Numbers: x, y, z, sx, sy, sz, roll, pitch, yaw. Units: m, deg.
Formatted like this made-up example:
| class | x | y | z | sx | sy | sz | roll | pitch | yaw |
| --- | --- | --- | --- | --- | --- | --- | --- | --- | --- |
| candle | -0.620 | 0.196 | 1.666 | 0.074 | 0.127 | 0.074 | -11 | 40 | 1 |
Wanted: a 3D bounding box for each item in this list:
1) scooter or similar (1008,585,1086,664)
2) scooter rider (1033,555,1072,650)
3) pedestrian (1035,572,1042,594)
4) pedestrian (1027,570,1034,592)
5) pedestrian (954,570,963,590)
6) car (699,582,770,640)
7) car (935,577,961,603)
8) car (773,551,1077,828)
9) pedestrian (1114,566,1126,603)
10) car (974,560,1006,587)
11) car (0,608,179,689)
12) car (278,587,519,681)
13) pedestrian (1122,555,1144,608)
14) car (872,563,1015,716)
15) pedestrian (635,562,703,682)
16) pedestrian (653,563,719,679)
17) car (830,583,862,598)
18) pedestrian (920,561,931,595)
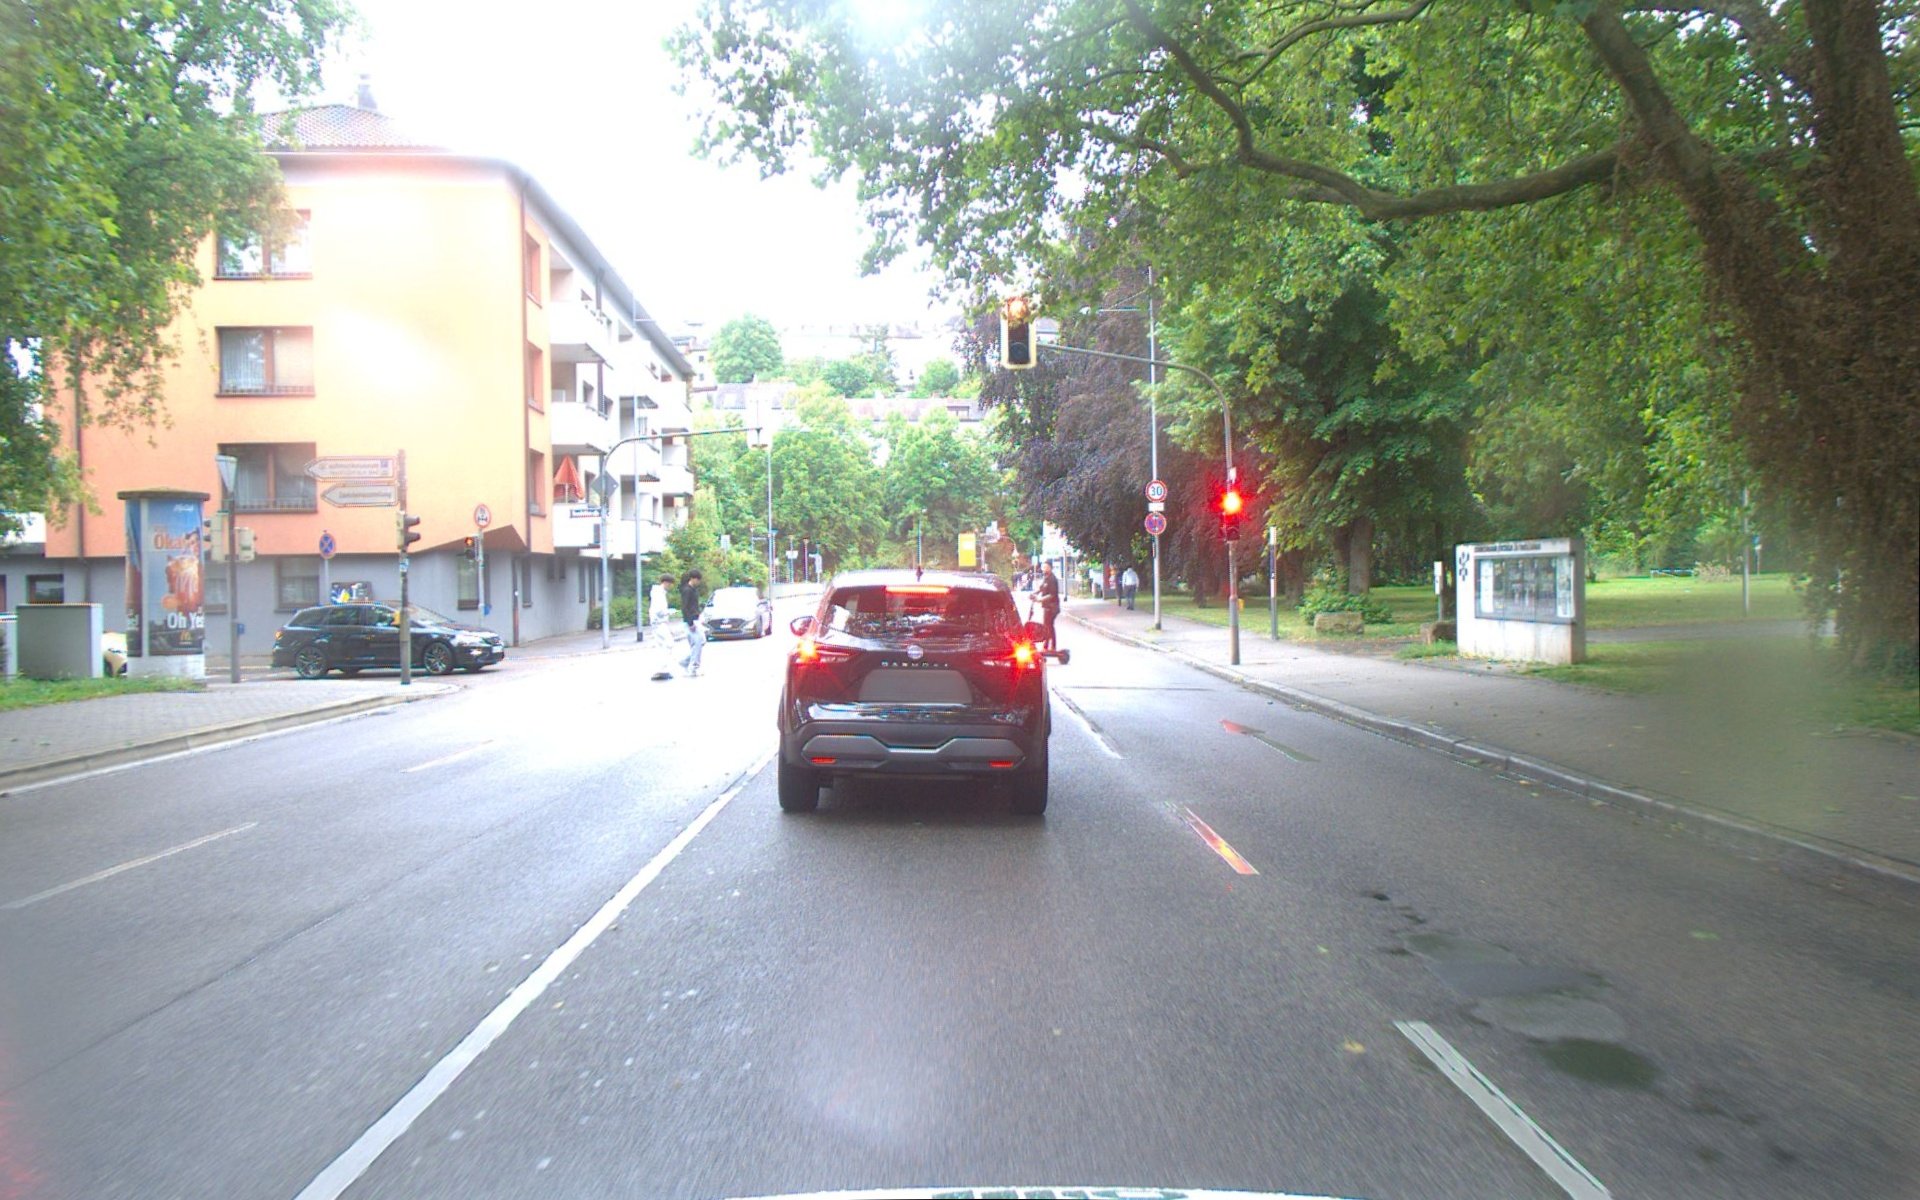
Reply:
| class | x | y | z | sx | sy | sz | roll | pitch | yaw |
| --- | --- | --- | --- | --- | --- | --- | --- | --- | --- |
| scooter or similar | 1.666 | 0.463 | 31.602 | 1.364 | 1.471 | 0.818 | -1 | -1 | 11 |
| scooter rider | 1.773 | 0.048 | 31.611 | 0.629 | 1.797 | 0.736 | -1 | -1 | 11 |
| pedestrian | 6.554 | -1.446 | 137.990 | 0.498 | 1.833 | 0.619 | -2 | 0 | -2 |
| pedestrian | 5.878 | -1.556 | 137.722 | 0.498 | 1.833 | 0.619 | -2 | 0 | -1 |
| pedestrian | -0.135 | -1.742 | 142.369 | 0.498 | 1.702 | 0.658 | -1 | 1 | 27 |
| car | -6.511 | 0.282 | 48.015 | 1.760 | 1.560 | 3.864 | -2 | 1 | -4 |
| car | -0.797 | -0.646 | 105.797 | 1.601 | 1.559 | 3.967 | -2 | 1 | -1 |
| car | -0.238 | 0.537 | 12.293 | 1.874 | 1.709 | 4.000 | 0 | 1 | -1 |
| pedestrian | 6.673 | -0.630 | 68.879 | 0.382 | 1.528 | 0.559 | -2 | 0 | -1 |
| car | 2.074 | -1.789 | 113.949 | 1.952 | 1.765 | 4.002 | 1 | 0 | 4 |
| car | -18.318 | 0.981 | 32.981 | 4.540 | 1.428 | 1.832 | -2 | 1 | 0 |
| car | -11.050 | 0.649 | 32.710 | 4.037 | 1.654 | 1.853 | -2 | 1 | 5 |
| pedestrian | 6.782 | -0.739 | 64.797 | 0.710 | 2.049 | 0.851 | -2 | 0 | -1 |
| car | -0.225 | 0.450 | 21.664 | 1.664 | 1.776 | 3.640 | -2 | 1 | -1 |
| pedestrian | -4.826 | 0.352 | 27.425 | 1.017 | 1.908 | 0.656 | -3 | 1 | -12 |
| pedestrian | -4.685 | 0.352 | 28.254 | 1.017 | 1.908 | 0.656 | -3 | 1 | -12 |
| car | -12.637 | -1.058 | 183.154 | 3.410 | 1.612 | 1.639 | -2 | 1 | -8 |
| pedestrian | -1.875 | -1.211 | 90.315 | 0.499 | 1.833 | 0.618 | -2 | 0 | -7 |
